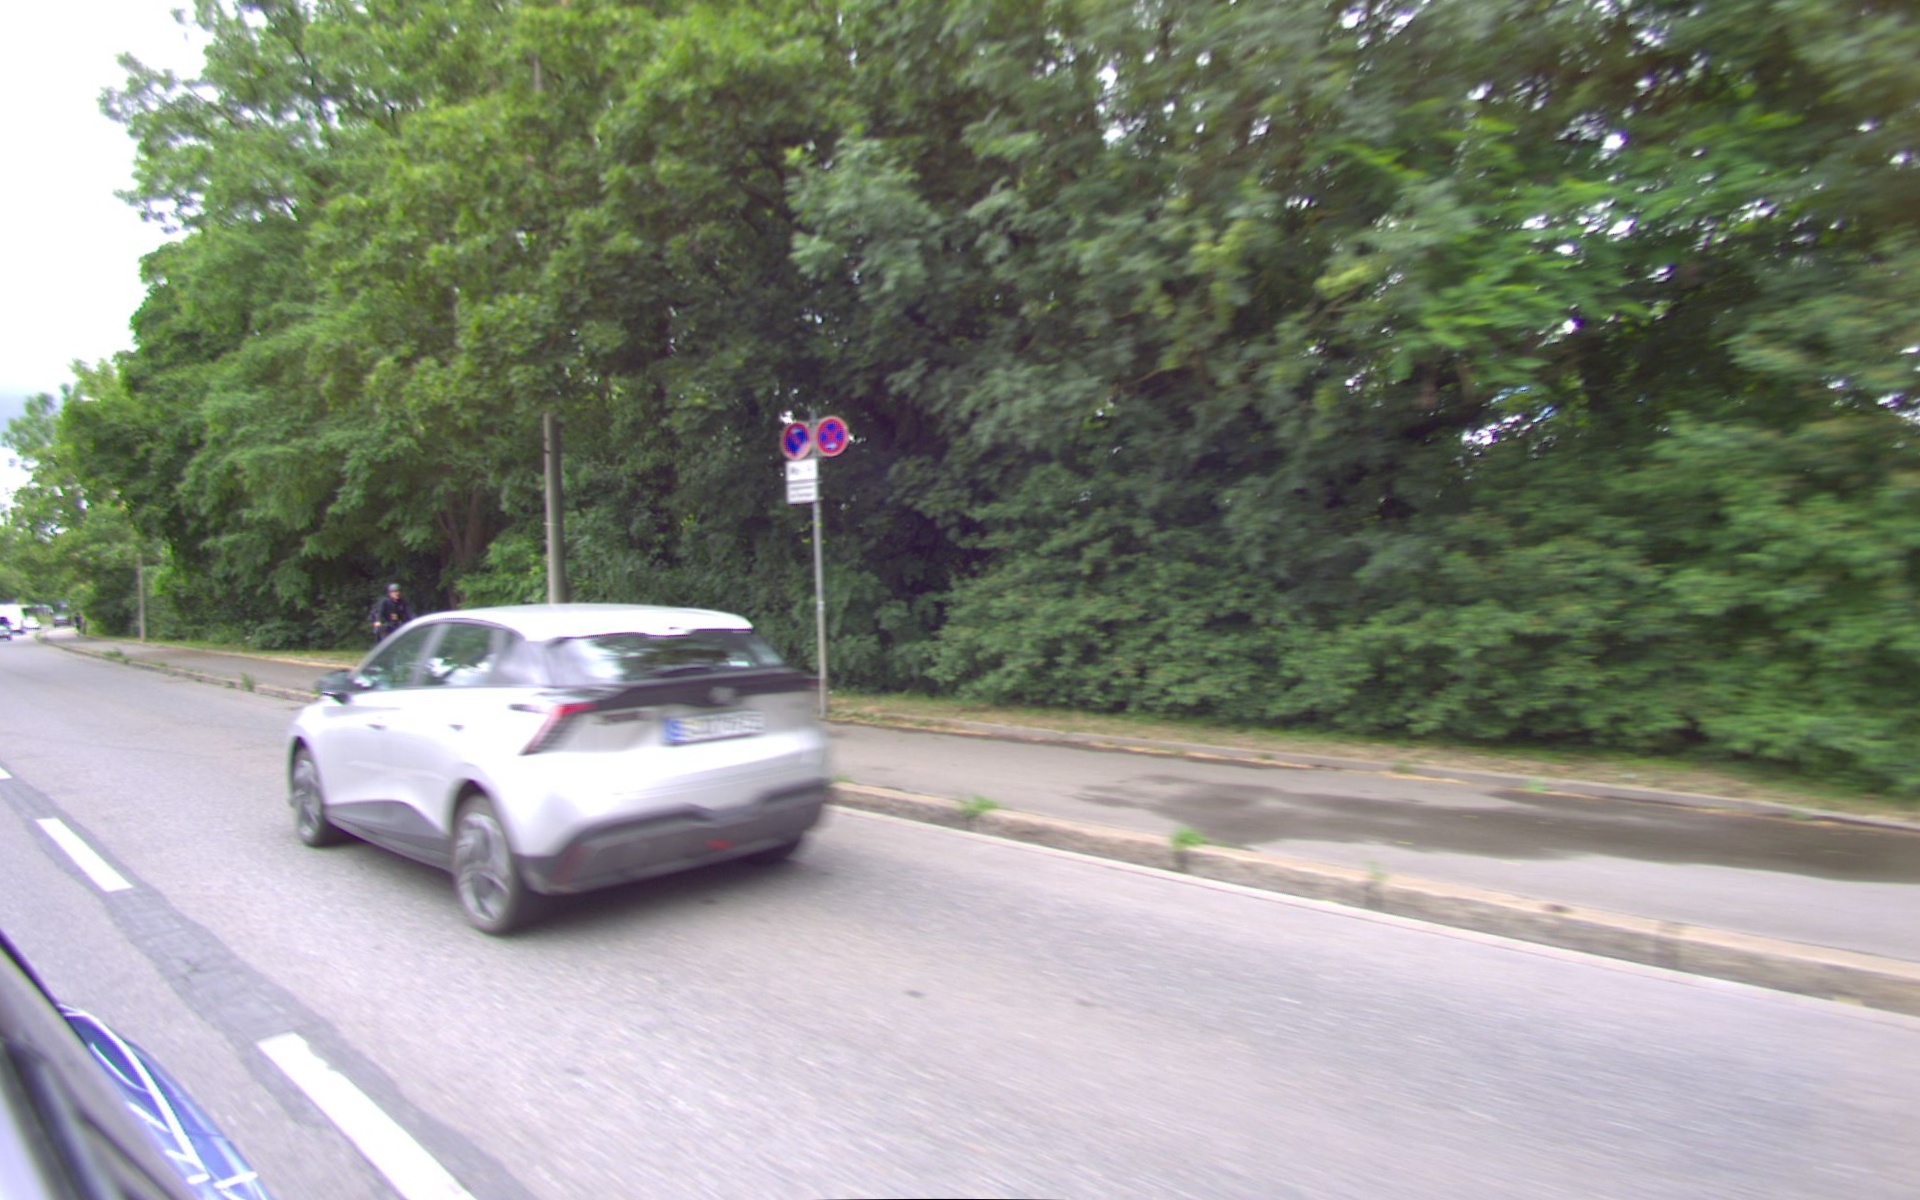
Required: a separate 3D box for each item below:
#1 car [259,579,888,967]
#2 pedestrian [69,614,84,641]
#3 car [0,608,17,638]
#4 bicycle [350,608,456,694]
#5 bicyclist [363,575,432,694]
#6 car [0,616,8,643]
[{"bbox_3d":[-2.518,0.730,6.001,4.179,1.503,1.775,-2,-2,42],"label":"car"},{"bbox_3d":[-59.886,1.862,68.595,0.815,1.727,0.592,-2,1,44],"label":"pedestrian"},{"bbox_3d":[-86.240,2.110,90.965,5.897,2.646,1.971,-2,-2,45],"label":"car"},{"bbox_3d":[-9.489,0.849,17.190,2.277,1.341,0.692,-2,2,38],"label":"bicycle"},{"bbox_3d":[-9.593,0.575,17.254,0.835,1.962,0.680,-2,1,38],"label":"bicyclist"},{"bbox_3d":[-66.844,2.041,69.495,4.556,1.813,1.836,-2,-1,43],"label":"car"}]
